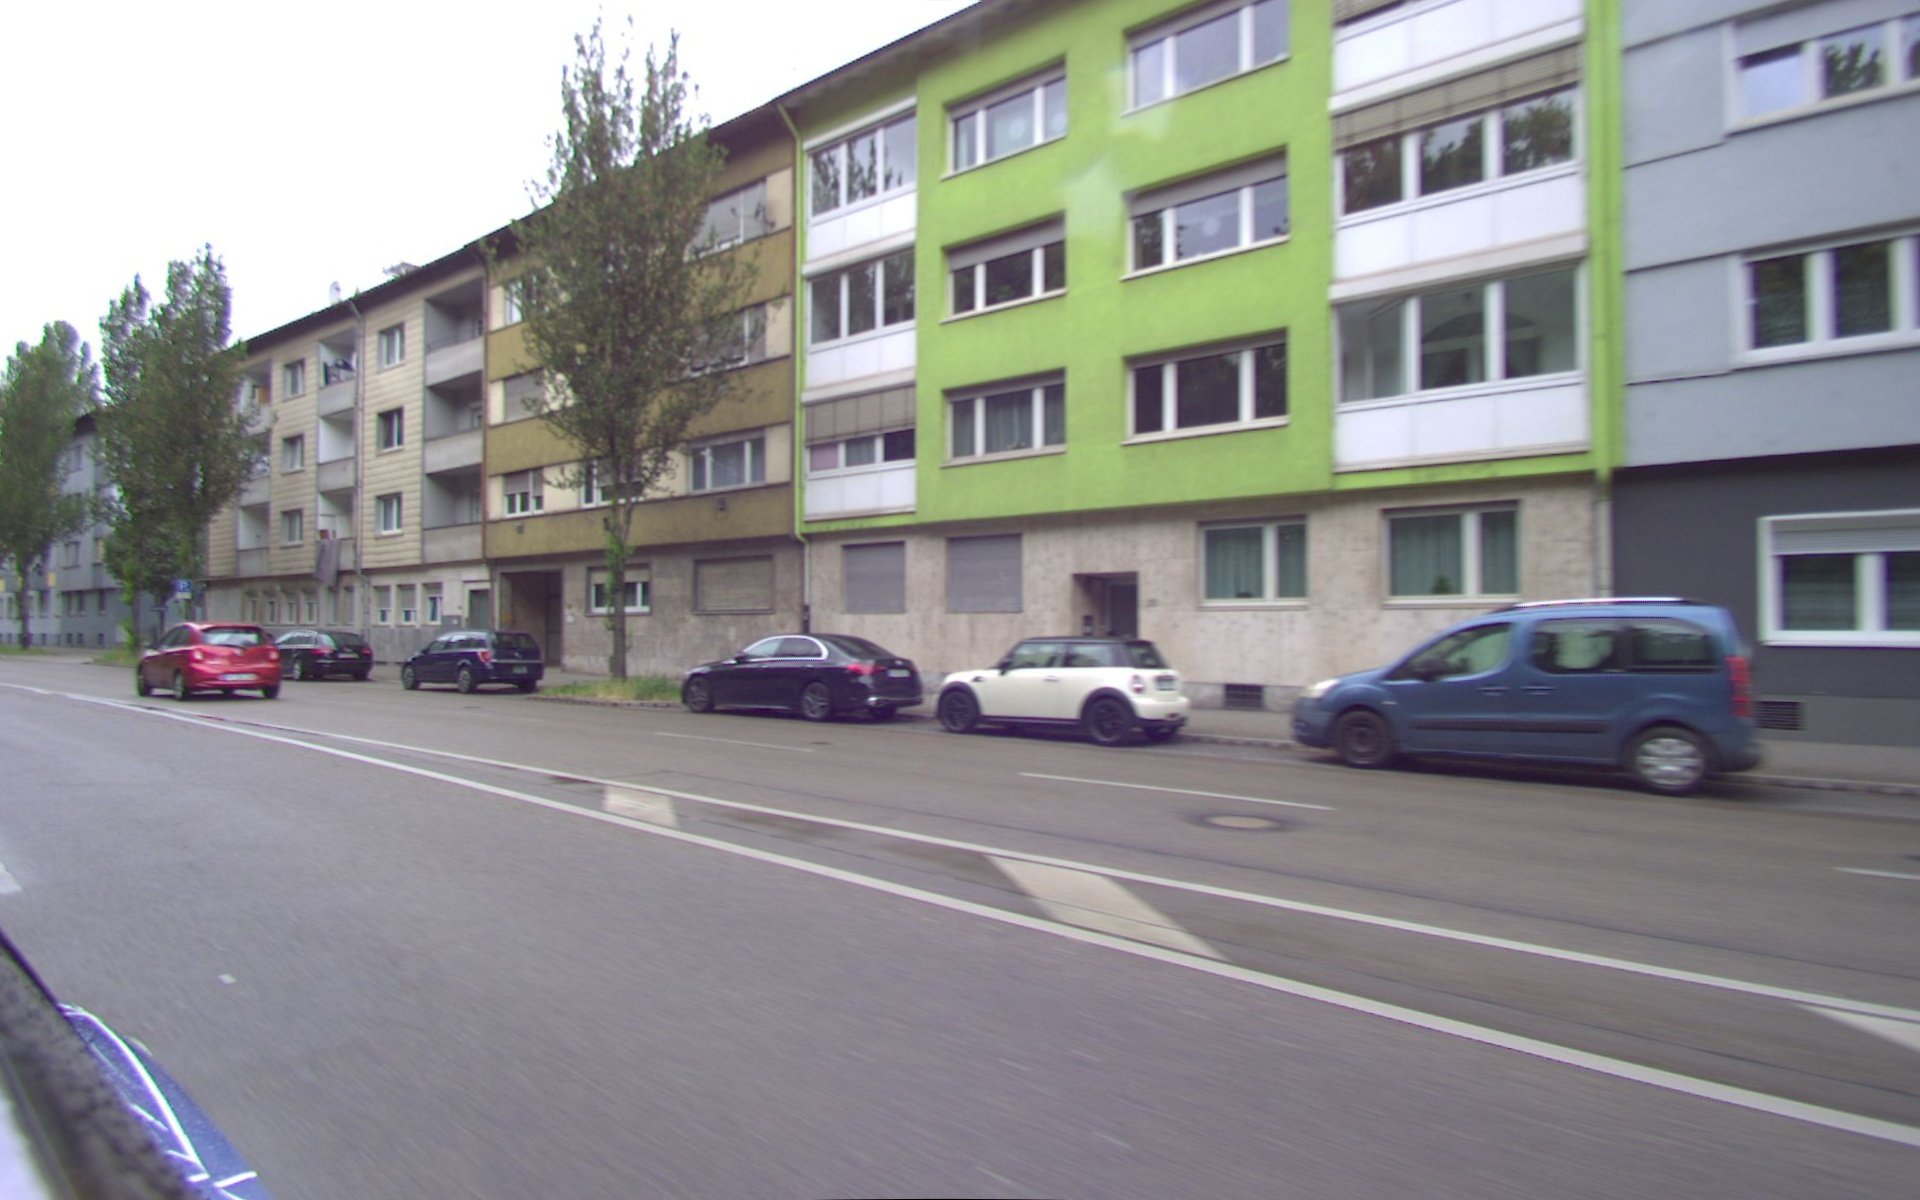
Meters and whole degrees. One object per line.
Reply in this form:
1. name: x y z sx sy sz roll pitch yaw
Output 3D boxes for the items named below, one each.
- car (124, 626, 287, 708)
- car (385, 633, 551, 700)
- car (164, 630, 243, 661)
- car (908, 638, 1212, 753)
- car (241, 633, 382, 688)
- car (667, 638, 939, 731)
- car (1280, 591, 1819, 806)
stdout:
1. car: -15.197 1.287 20.347 3.675 1.489 1.690 -1 -3 38
2. car: -11.983 1.571 24.541 4.507 1.500 1.702 -2 -4 37
3. car: -39.970 2.395 53.595 1.685 1.505 4.009 2 -2 -11
4. car: 1.330 1.265 14.252 3.994 1.386 1.664 -1 -4 38
5. car: -19.073 1.738 29.683 4.779 1.500 1.801 -2 -4 36
6. car: -2.767 1.365 17.285 4.670 1.383 1.801 -2 -4 36
7. car: 5.945 0.902 10.628 4.595 1.780 1.872 -1 -3 39
